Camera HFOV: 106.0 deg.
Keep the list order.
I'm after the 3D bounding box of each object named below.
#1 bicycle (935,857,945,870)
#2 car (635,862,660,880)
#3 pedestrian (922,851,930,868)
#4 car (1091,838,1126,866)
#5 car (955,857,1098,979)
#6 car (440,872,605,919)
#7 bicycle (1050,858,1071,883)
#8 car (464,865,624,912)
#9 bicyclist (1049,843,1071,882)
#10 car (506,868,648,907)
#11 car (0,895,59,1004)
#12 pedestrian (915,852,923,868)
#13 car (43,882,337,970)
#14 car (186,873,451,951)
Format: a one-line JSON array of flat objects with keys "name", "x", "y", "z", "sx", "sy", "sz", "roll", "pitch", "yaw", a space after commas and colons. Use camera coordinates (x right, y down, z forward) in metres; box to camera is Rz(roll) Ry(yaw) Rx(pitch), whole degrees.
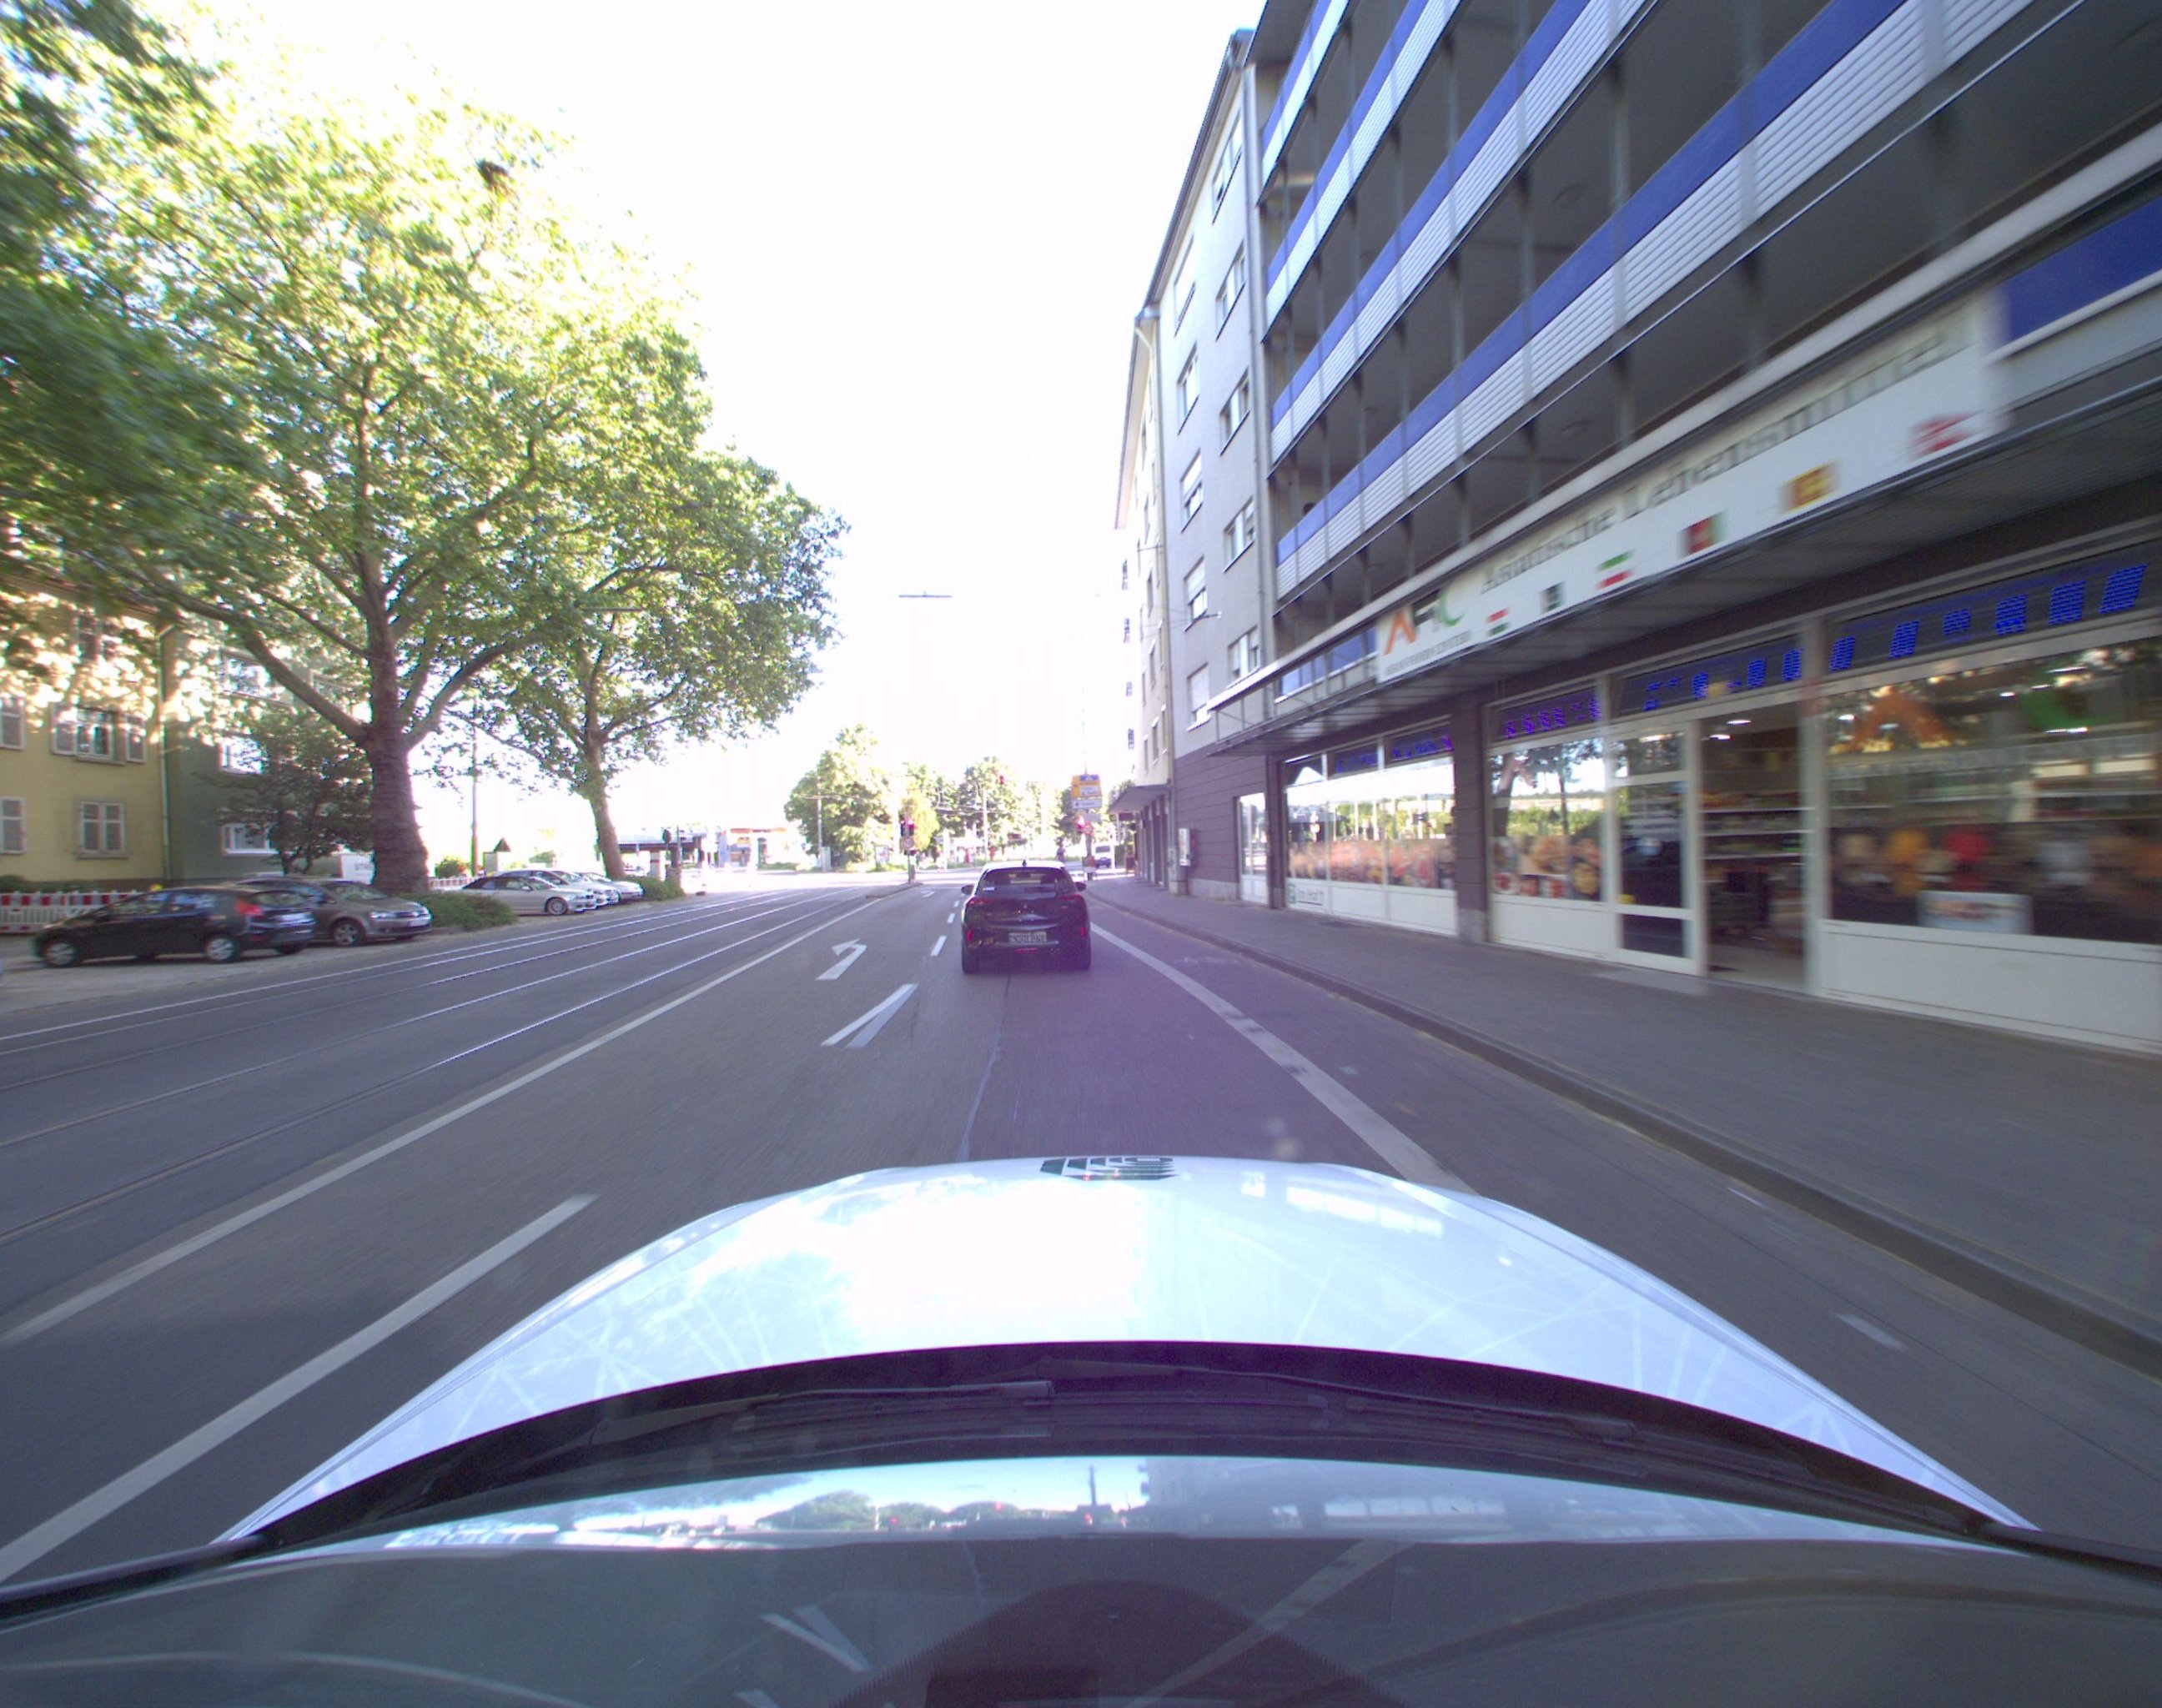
[{"name": "bicycle", "x": -11.967, "y": 0.820, "z": 69.263, "sx": 0.604, "sy": 1.031, "sz": 1.978, "roll": -2, "pitch": 0, "yaw": -5}, {"name": "car", "x": -39.961, "y": 1.550, "z": 75.109, "sx": 1.834, "sy": 1.519, "sz": 3.861, "roll": 0, "pitch": -1, "yaw": -26}, {"name": "pedestrian", "x": -15.796, "y": 0.565, "z": 82.923, "sx": 0.634, "sy": 1.630, "sz": 0.572, "roll": 0, "pitch": -1, "yaw": 1}, {"name": "car", "x": 2.438, "y": -0.205, "z": 70.746, "sx": 2.049, "sy": 2.248, "sz": 4.905, "roll": -2, "pitch": 0, "yaw": 13}, {"name": "car", "x": -0.849, "y": 0.788, "z": 12.074, "sx": 1.724, "sy": 1.429, "sz": 4.179, "roll": -1, "pitch": 0, "yaw": -5}, {"name": "car", "x": -18.766, "y": 1.368, "z": 27.540, "sx": 4.238, "sy": 1.368, "sz": 1.724, "roll": -1, "pitch": 0, "yaw": -8}, {"name": "bicycle", "x": -1.013, "y": 0.782, "z": 39.628, "sx": 0.859, "sy": 1.153, "sz": 2.167, "roll": -3, "pitch": 0, "yaw": -6}, {"name": "car", "x": -19.789, "y": 1.243, "z": 30.170, "sx": 4.605, "sy": 1.618, "sz": 1.794, "roll": -1, "pitch": 0, "yaw": -7}, {"name": "bicyclist", "x": -1.022, "y": 0.424, "z": 39.709, "sx": 0.940, "sy": 1.851, "sz": 0.862, "roll": -3, "pitch": 0, "yaw": -6}, {"name": "car", "x": -20.118, "y": 1.316, "z": 32.646, "sx": 4.507, "sy": 1.429, "sz": 1.672, "roll": -1, "pitch": 0, "yaw": -7}, {"name": "car", "x": -16.966, "y": 1.354, "z": 10.829, "sx": 4.140, "sy": 1.470, "sz": 1.726, "roll": -1, "pitch": -1, "yaw": -7}, {"name": "pedestrian", "x": -16.500, "y": 0.570, "z": 82.939, "sx": 0.748, "sy": 1.630, "sz": 0.598, "roll": 0, "pitch": -1, "yaw": 1}, {"name": "car", "x": -17.320, "y": 1.348, "z": 16.015, "sx": 3.561, "sy": 1.429, "sz": 1.738, "roll": -2, "pitch": 0, "yaw": -8}, {"name": "car", "x": -17.348, "y": 1.275, "z": 18.729, "sx": 4.182, "sy": 1.605, "sz": 1.811, "roll": 0, "pitch": 0, "yaw": -6}]
